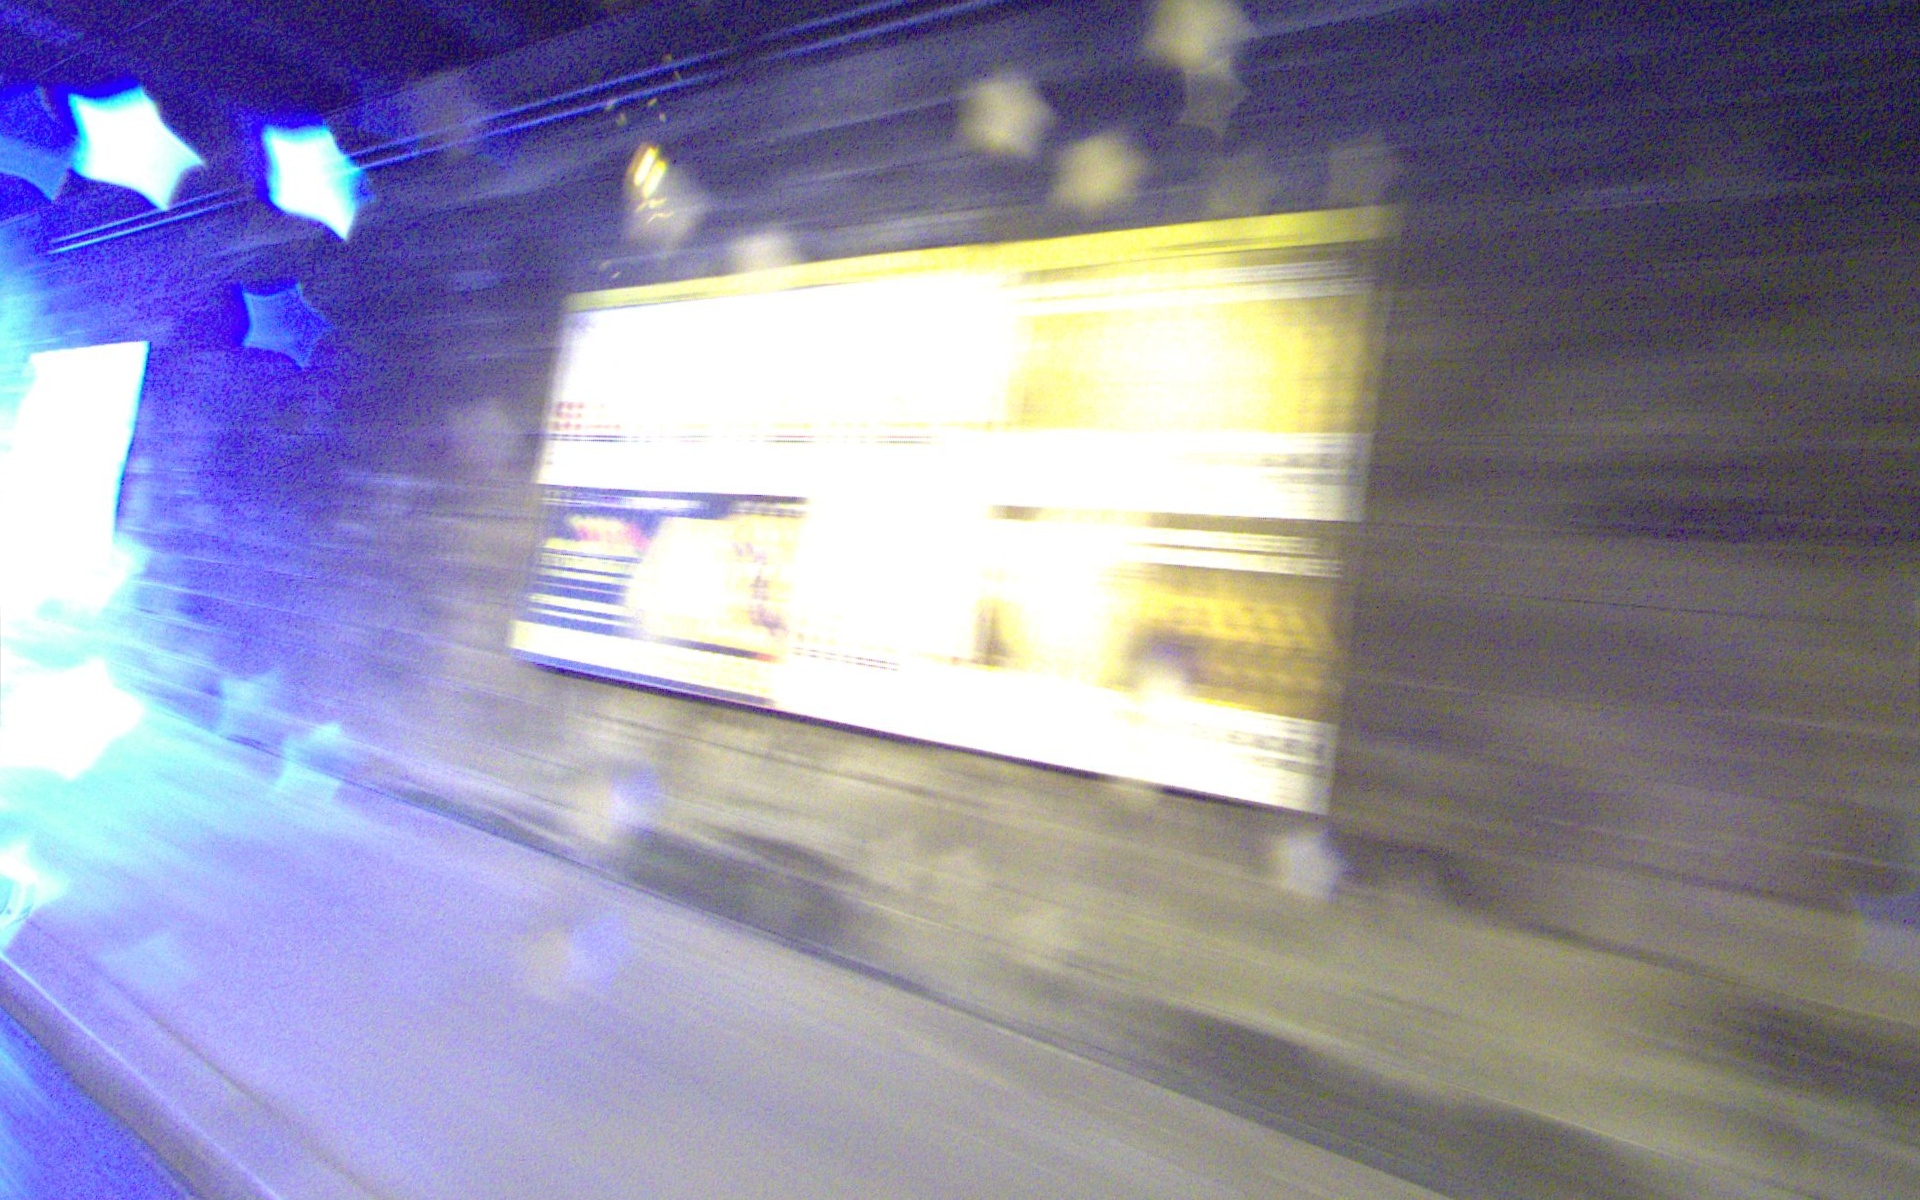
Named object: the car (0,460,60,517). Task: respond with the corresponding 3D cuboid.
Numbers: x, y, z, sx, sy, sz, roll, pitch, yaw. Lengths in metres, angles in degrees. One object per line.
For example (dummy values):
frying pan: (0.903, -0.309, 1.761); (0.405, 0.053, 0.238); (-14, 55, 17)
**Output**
car: (-28.648, -3.420, 29.155); (1.811, 1.455, 4.096); (7, -1, -10)
